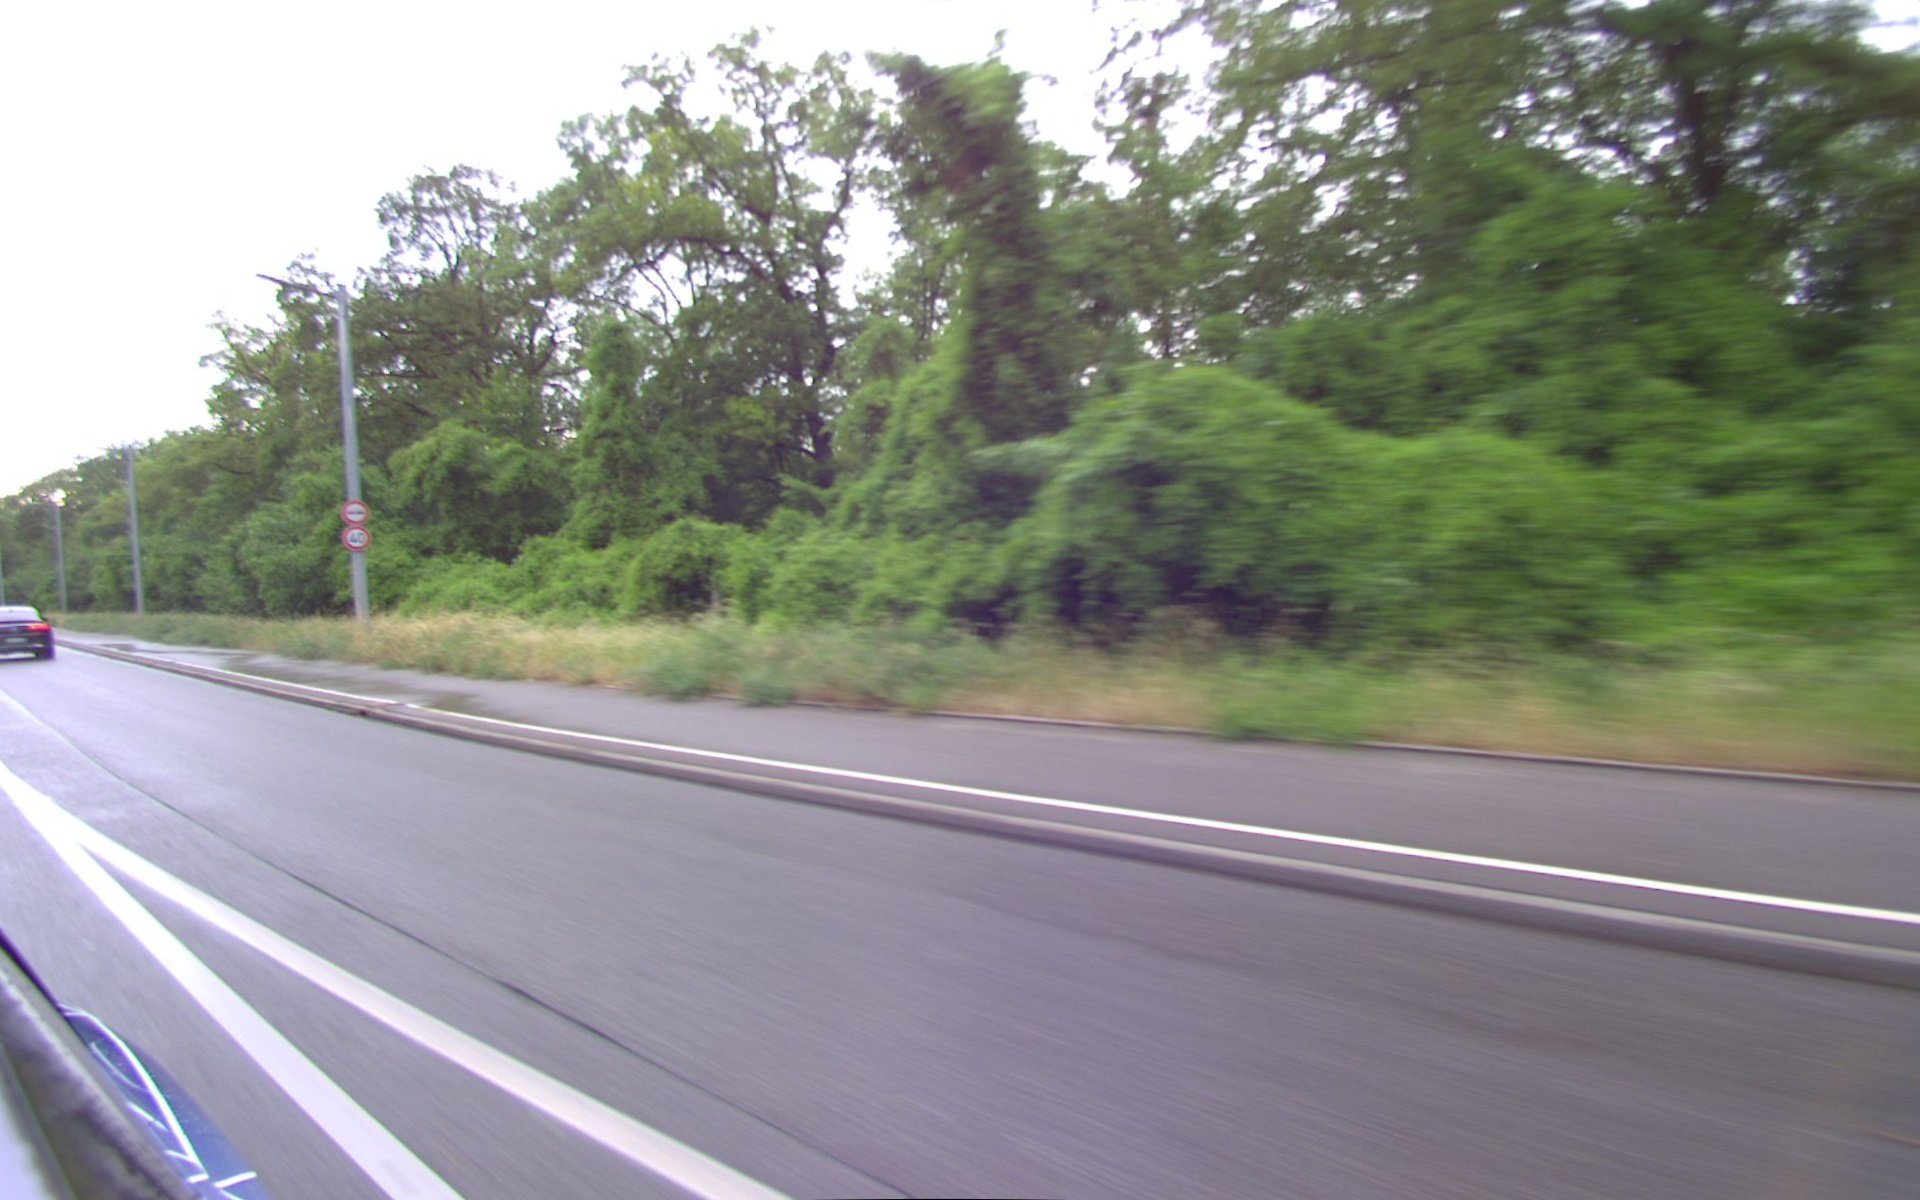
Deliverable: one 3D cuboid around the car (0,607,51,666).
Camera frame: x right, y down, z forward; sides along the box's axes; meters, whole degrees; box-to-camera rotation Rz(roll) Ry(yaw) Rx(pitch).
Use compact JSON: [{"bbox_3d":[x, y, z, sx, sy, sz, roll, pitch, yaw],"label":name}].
[{"bbox_3d":[-31.149,1.185,33.056,1.970,1.800,4.711,-1,0,-44],"label":"car"}]
